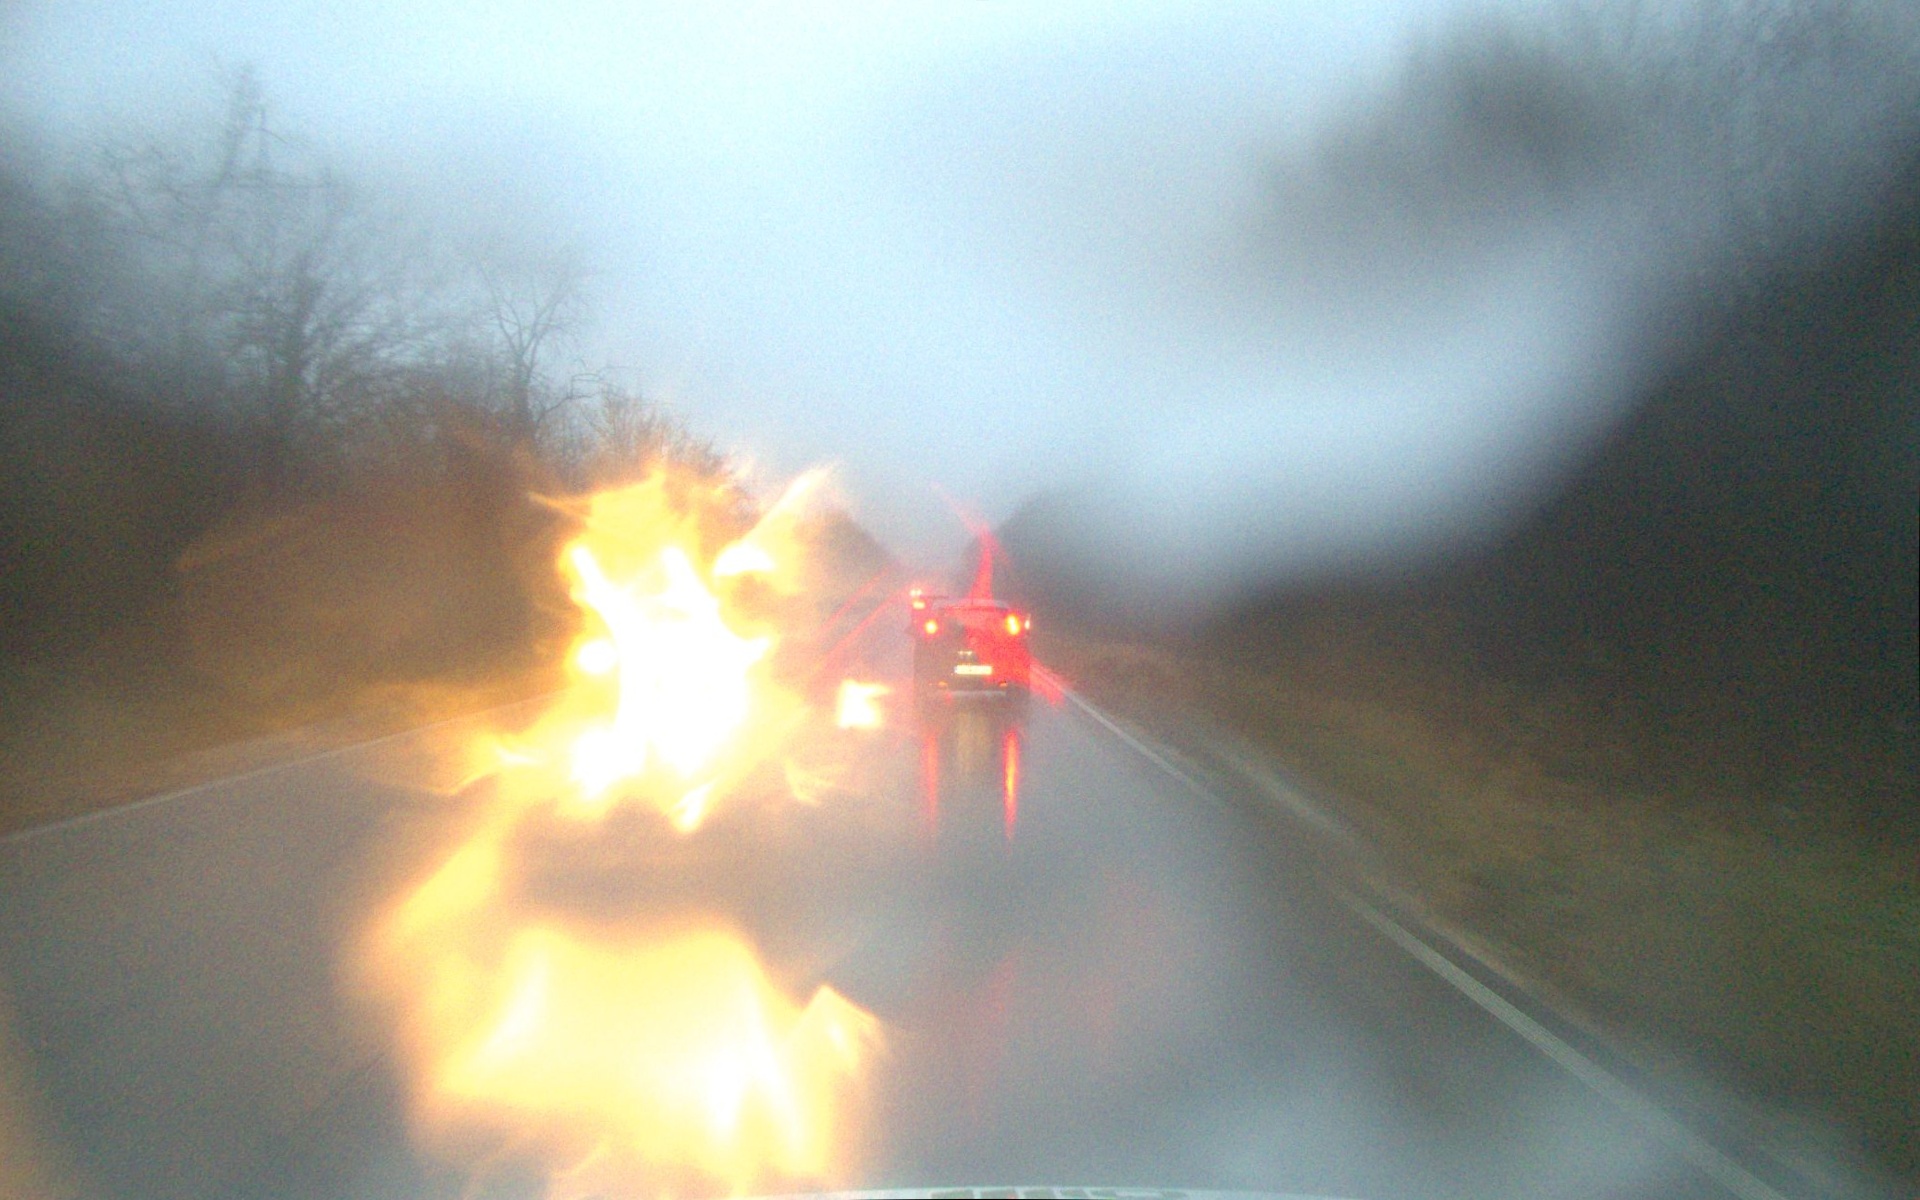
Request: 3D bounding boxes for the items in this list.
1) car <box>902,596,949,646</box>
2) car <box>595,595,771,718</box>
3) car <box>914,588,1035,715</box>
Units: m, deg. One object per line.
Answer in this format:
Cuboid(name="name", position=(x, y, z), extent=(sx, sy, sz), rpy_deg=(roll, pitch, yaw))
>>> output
Cuboid(name="car", position=(-1.325, 0.793, 63.722), extent=(1.698, 1.810, 3.999), rpy_deg=(1, 0, -1))
Cuboid(name="car", position=(-3.849, 0.709, 23.896), extent=(1.664, 1.522, 5.663), rpy_deg=(1, 0, -1))
Cuboid(name="car", position=(0.170, 0.706, 24.289), extent=(1.614, 1.701, 3.513), rpy_deg=(1, 0, -1))
